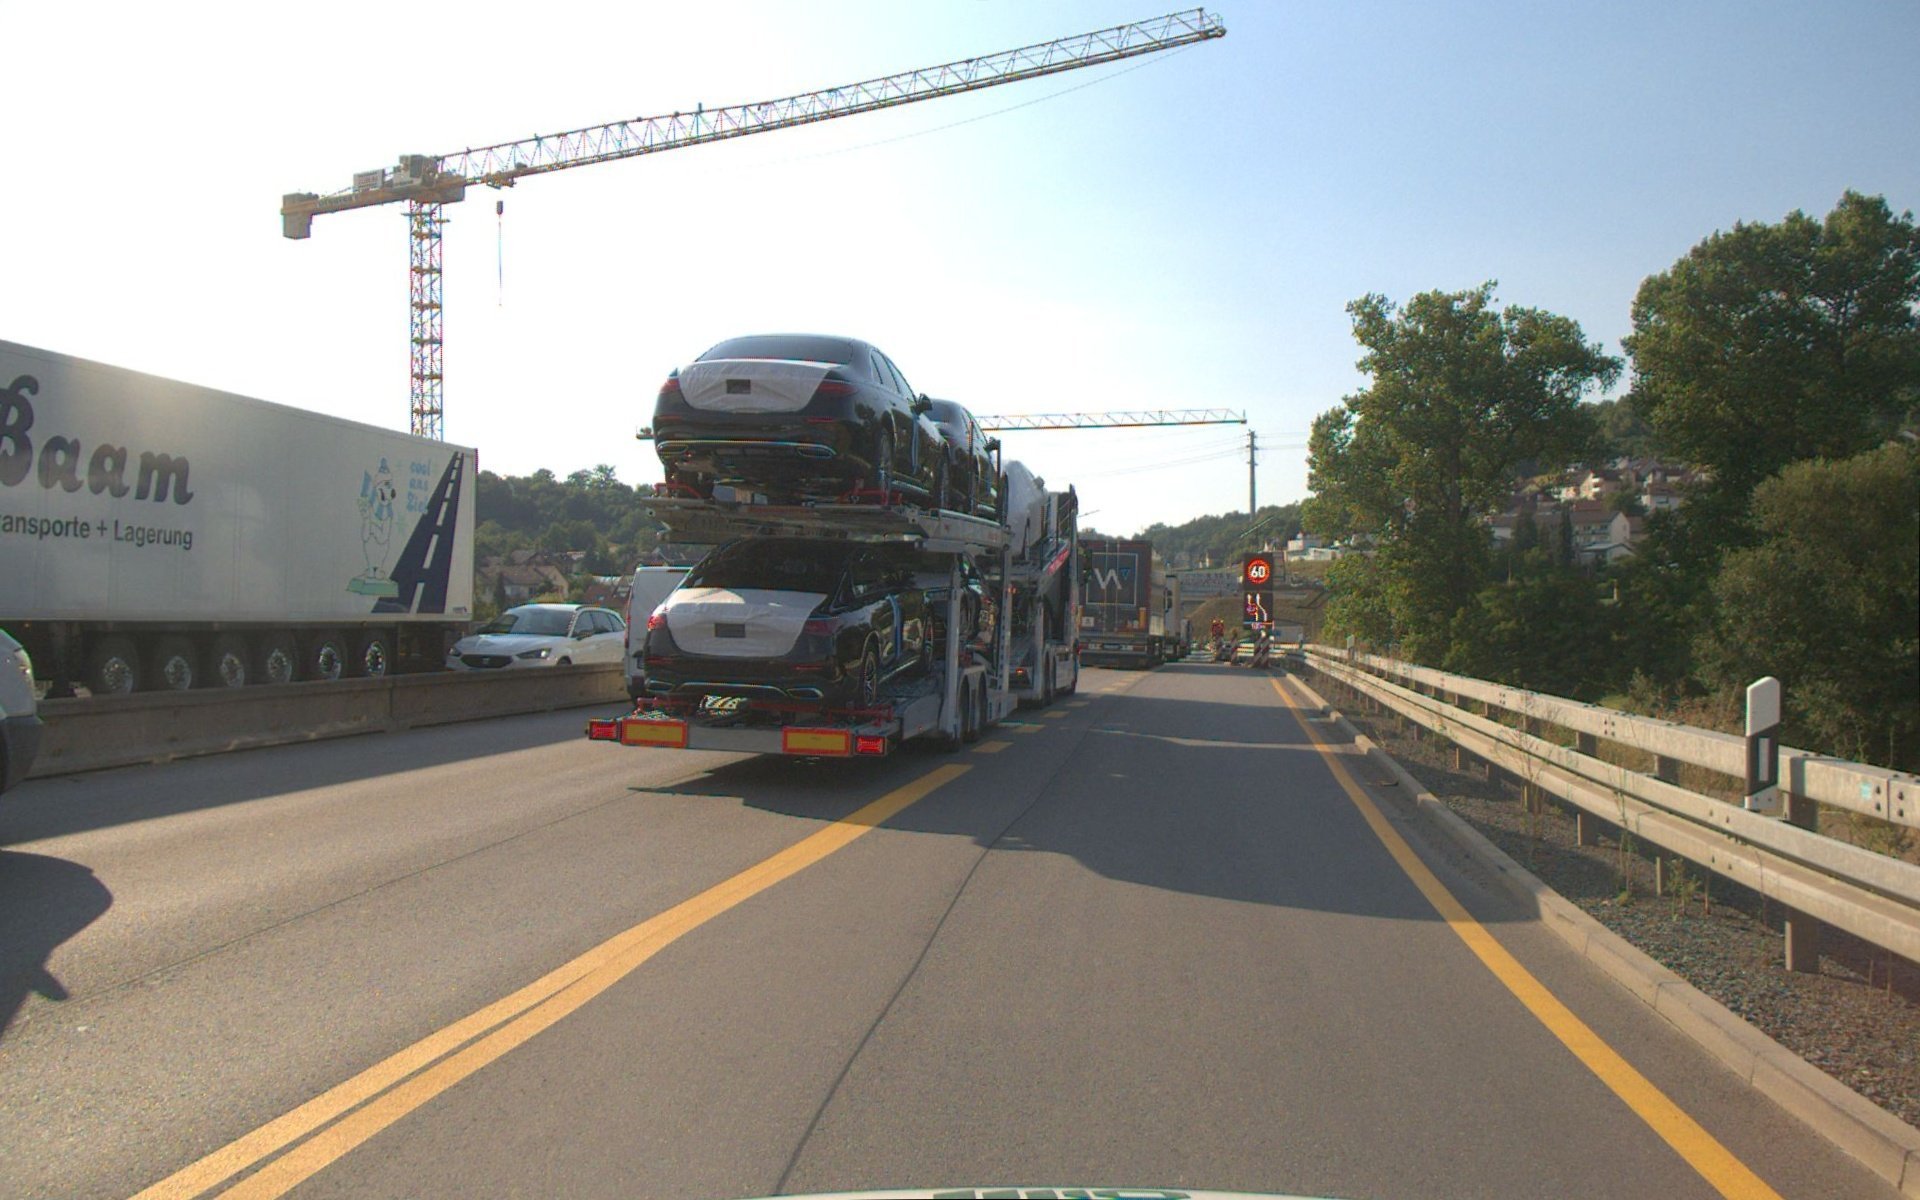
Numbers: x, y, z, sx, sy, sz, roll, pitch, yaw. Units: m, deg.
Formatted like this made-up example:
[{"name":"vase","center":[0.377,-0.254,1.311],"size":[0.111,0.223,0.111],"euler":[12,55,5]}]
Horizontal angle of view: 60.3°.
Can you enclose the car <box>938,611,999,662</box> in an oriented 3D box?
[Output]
[{"name":"car","center":[0.346,1.332,60.483],"size":[1.791,1.783,4.003],"euler":[-1,-1,7]}]

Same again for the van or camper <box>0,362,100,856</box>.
[{"name":"van or camper","center":[-6.504,0.002,6.916],"size":[1.951,2.666,5.908],"euler":[1,-1,9]}]

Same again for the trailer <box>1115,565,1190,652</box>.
[{"name":"trailer","center":[10.051,0.534,84.799],"size":[3.312,4.067,14.756],"euler":[0,-1,9]}]

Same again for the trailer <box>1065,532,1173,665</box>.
[{"name":"trailer","center":[5.722,0.052,57.693],"size":[2.895,4.164,10.801],"euler":[-1,-1,10]}]

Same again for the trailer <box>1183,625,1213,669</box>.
[{"name":"trailer","center":[24.765,4.766,171.695],"size":[3.037,4.390,14.262],"euler":[0,-1,9]}]

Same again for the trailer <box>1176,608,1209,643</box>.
[{"name":"trailer","center":[30.270,3.267,214.910],"size":[4.009,4.390,14.262],"euler":[0,-1,9]}]

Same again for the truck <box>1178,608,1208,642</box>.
[{"name":"truck","center":[31.343,3.366,222.091],"size":[3.942,4.361,6.629],"euler":[0,-1,9]}]

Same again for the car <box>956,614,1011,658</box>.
[{"name":"car","center":[0.977,1.426,66.226],"size":[1.791,1.683,4.003],"euler":[-1,-1,7]}]

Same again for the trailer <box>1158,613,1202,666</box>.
[{"name":"trailer","center":[17.974,3.136,134.552],"size":[3.312,4.067,14.756],"euler":[0,-1,9]}]

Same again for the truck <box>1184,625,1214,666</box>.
[{"name":"truck","center":[25.676,4.862,177.554],"size":[3.032,4.361,6.629],"euler":[0,-1,9]}]

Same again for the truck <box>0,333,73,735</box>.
[{"name":"truck","center":[-11.456,-0.693,15.231],"size":[2.571,4.138,6.134],"euler":[-1,-1,9]}]

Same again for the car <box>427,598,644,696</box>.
[{"name":"car","center":[-6.628,0.733,26.379],"size":[1.867,1.389,4.456],"euler":[-1,-1,7]}]

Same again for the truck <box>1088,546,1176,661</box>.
[{"name":"truck","center":[6.535,0.175,62.149],"size":[2.823,4.067,6.629],"euler":[0,-1,10]}]

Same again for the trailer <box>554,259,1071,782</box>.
[{"name":"trailer","center":[-0.668,-0.486,20.840],"size":[2.796,4.067,15.758],"euler":[0,-1,9]}]

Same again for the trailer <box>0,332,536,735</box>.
[{"name":"trailer","center":[-10.104,-0.559,23.153],"size":[2.571,4.138,14.090],"euler":[-1,-1,9]}]

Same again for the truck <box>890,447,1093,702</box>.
[{"name":"truck","center":[0.753,-0.353,29.777],"size":[2.787,4.067,6.629],"euler":[0,-1,9]}]

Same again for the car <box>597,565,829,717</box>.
[{"name":"car","center":[-3.608,0.575,25.237],"size":[1.985,2.015,4.983],"euler":[2,0,10]}]
